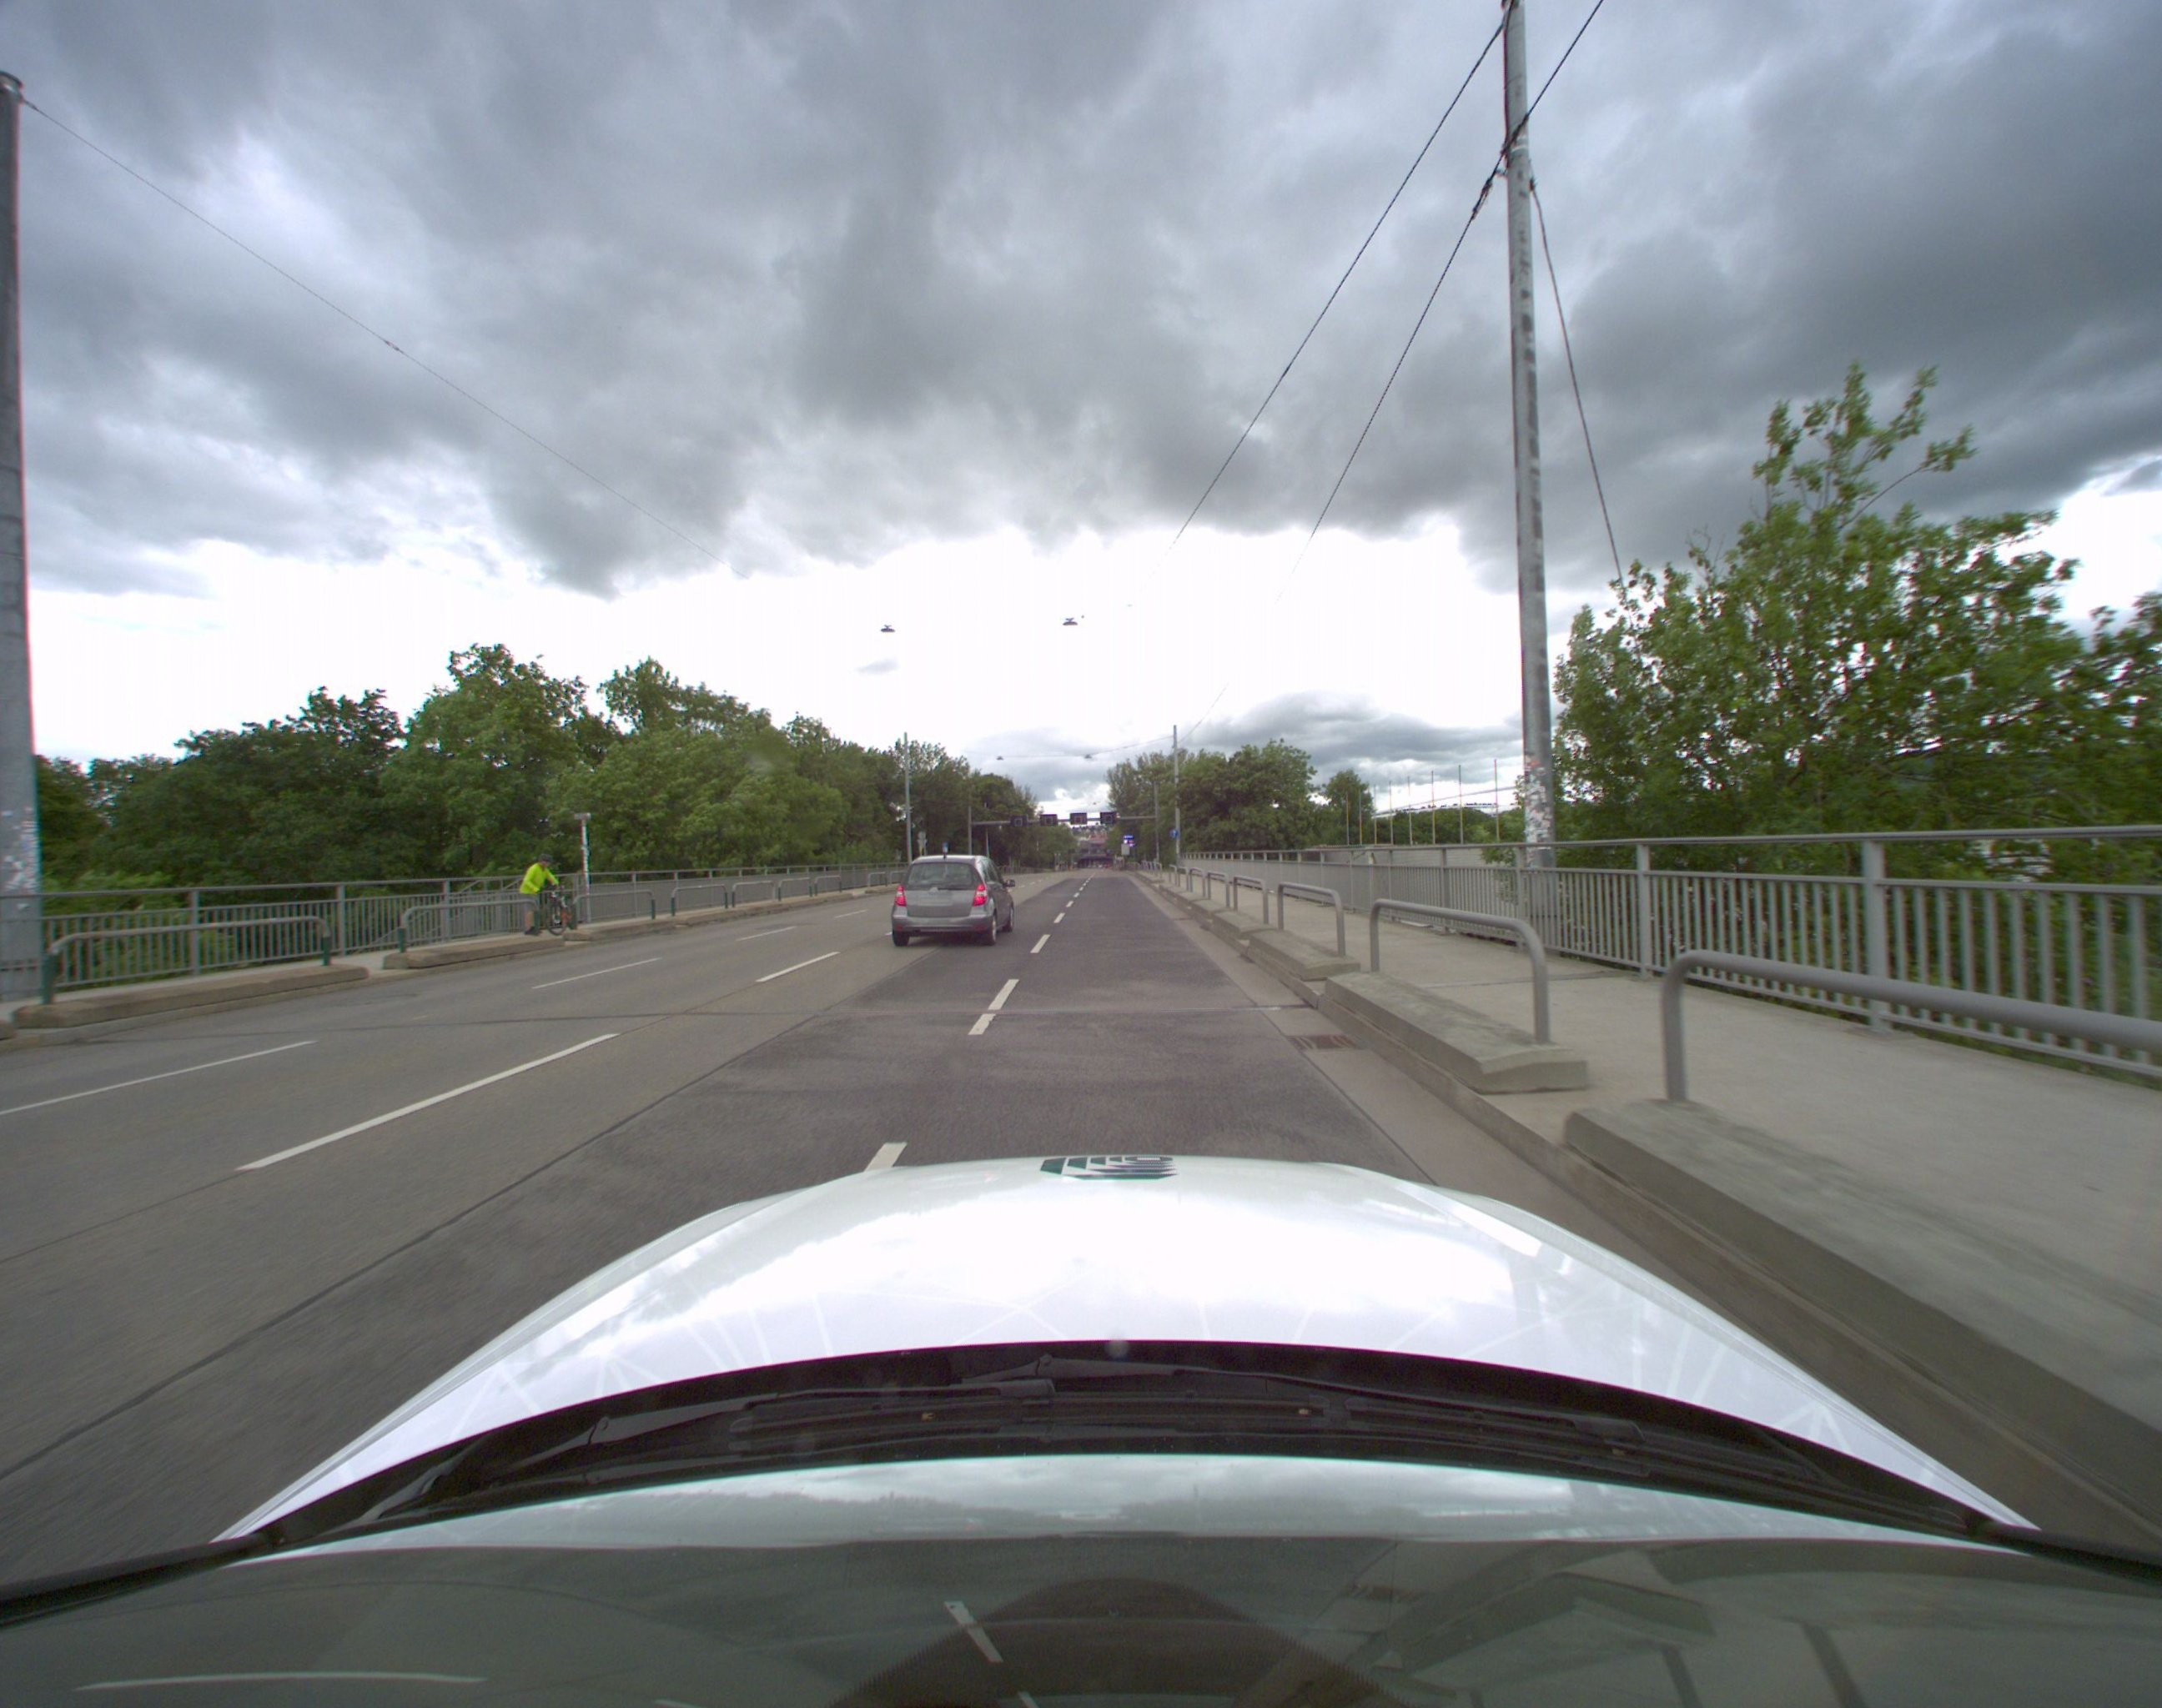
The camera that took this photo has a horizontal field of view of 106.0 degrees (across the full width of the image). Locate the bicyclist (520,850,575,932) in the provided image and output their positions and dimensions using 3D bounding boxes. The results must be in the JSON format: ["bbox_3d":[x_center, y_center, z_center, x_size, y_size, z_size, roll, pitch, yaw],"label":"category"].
[{"bbox_3d":[-12.110,0.810,18.524,0.908,1.764,1.125,-2,0,-29],"label":"bicyclist"}]

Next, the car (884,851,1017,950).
[{"bbox_3d":[-2.289,0.761,15.222,1.739,1.550,3.872,-1,1,1],"label":"car"}]

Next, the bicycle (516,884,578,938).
[{"bbox_3d":[-12.084,1.249,18.515,0.923,1.051,2.774,-2,0,-28],"label":"bicycle"}]
